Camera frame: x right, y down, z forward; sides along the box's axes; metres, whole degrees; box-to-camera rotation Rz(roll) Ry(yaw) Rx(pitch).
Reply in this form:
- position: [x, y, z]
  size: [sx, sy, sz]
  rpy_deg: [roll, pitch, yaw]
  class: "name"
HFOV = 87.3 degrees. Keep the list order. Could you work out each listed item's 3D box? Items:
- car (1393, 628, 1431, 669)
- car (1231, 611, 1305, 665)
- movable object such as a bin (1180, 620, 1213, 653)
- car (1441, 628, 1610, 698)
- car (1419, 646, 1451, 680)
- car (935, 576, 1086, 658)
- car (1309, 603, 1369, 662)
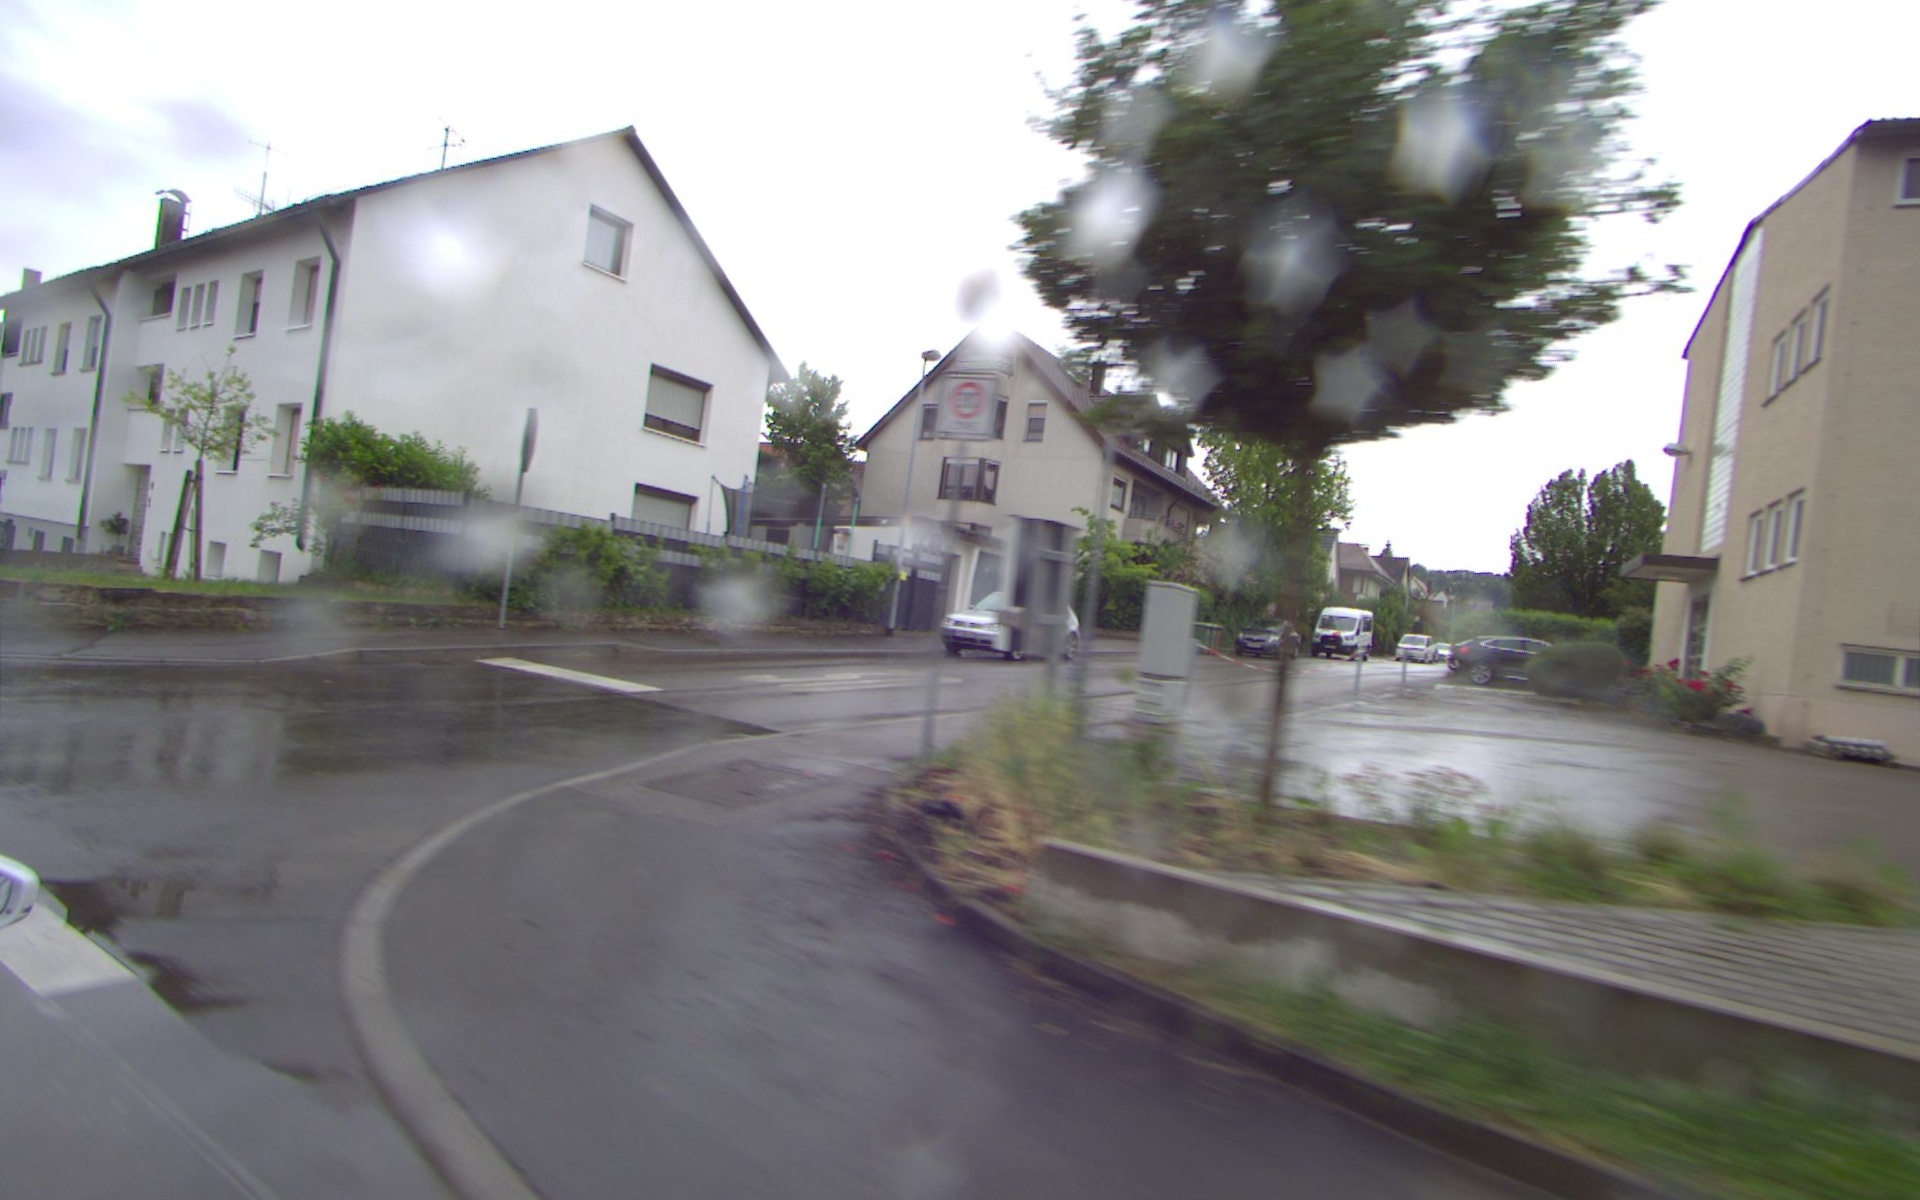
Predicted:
- position: [31.301, 3.389, 69.579]
  size: [1.950, 2.293, 3.999]
  rpy_deg: [8, -2, 28]
  class: "car"
- position: [11.861, 1.496, 38.612]
  size: [1.848, 1.569, 3.999]
  rpy_deg: [8, -2, 28]
  class: "car"
- position: [8.036, 1.247, 34.230]
  size: [0.819, 0.990, 0.659]
  rpy_deg: [8, -1, 30]
  class: "movable object such as a bin"
- position: [16.877, 1.882, 30.138]
  size: [4.161, 1.396, 1.701]
  rpy_deg: [8, -2, 31]
  class: "car"
- position: [38.937, 5.191, 82.362]
  size: [1.950, 2.293, 3.999]
  rpy_deg: [8, -2, 28]
  class: "car"
- position: [1.193, 0.424, 22.014]
  size: [1.582, 1.473, 3.771]
  rpy_deg: [6, 0, 32]
  class: "car"
- position: [18.269, 1.590, 48.378]
  size: [1.950, 2.293, 3.999]
  rpy_deg: [8, -2, 28]
  class: "car"
